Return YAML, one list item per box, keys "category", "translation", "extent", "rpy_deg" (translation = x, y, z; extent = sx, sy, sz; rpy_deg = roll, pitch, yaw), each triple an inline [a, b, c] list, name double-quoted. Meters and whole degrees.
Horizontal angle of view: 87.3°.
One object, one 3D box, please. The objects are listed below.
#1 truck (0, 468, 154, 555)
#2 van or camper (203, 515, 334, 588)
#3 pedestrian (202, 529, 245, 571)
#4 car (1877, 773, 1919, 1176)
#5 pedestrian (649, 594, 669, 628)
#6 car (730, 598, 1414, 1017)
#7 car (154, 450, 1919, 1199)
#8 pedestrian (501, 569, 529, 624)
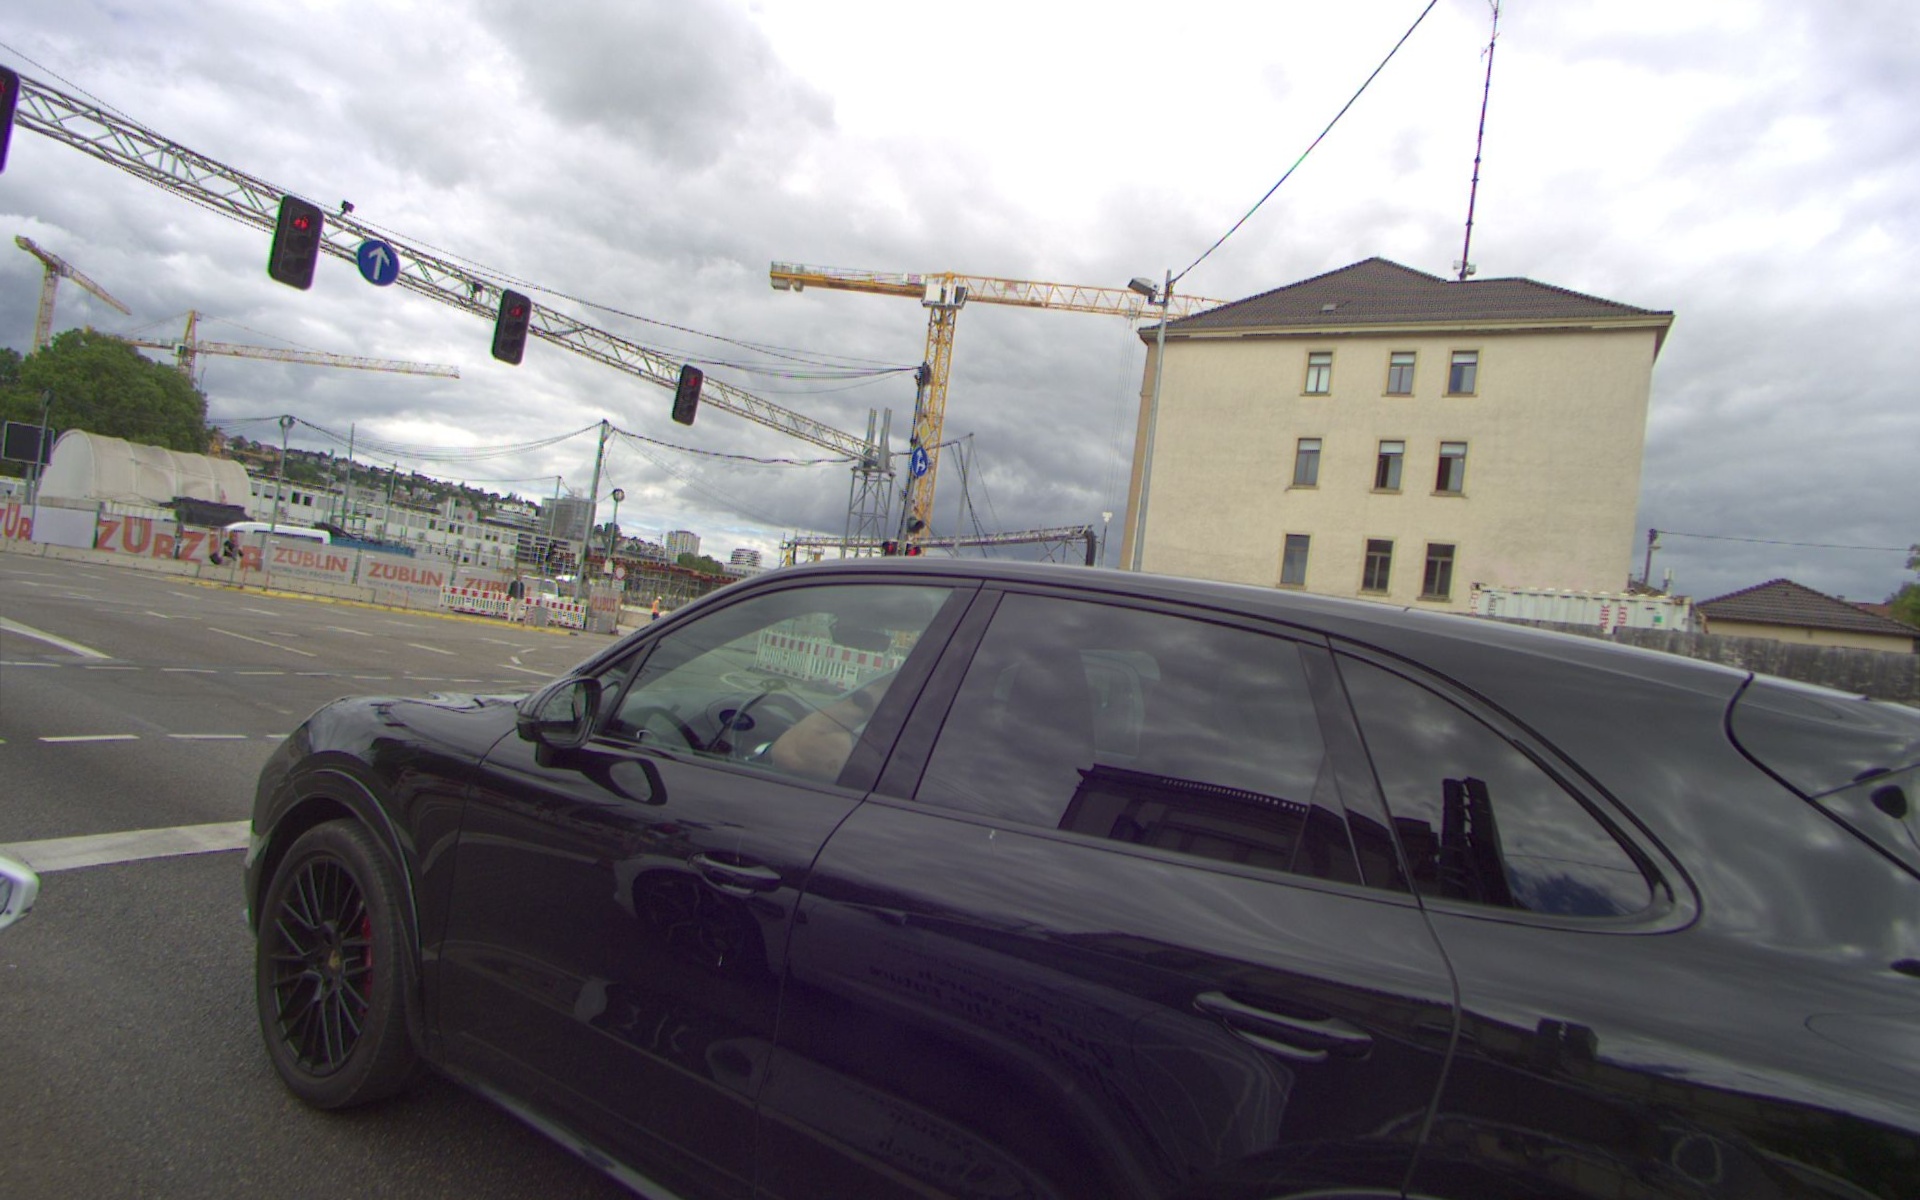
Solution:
- category: "truck"
  translation: [-57.897, -5.789, 61.926]
  extent: [3.875, 4.086, 13.089]
  rpy_deg: [8, -2, 12]
- category: "van or camper"
  translation: [-29.807, -2.069, 43.410]
  extent: [4.204, 2.384, 1.976]
  rpy_deg: [10, -3, -44]
- category: "pedestrian"
  translation: [-27.982, -1.896, 38.242]
  extent: [0.889, 1.393, 0.799]
  rpy_deg: [8, -1, -7]
- category: "car"
  translation: [5.736, 1.697, 2.620]
  extent: [4.579, 1.589, 1.825]
  rpy_deg: [6, -2, 34]
- category: "pedestrian"
  translation: [-16.106, 0.599, 53.849]
  extent: [0.508, 1.737, 0.654]
  rpy_deg: [7, -1, 21]
- category: "car"
  translation: [0.599, 1.045, 6.373]
  extent: [3.818, 1.561, 1.667]
  rpy_deg: [7, -2, 33]
- category: "car"
  translation: [0.043, 0.717, 2.697]
  extent: [4.559, 1.705, 1.959]
  rpy_deg: [7, -2, 33]
- category: "pedestrian"
  translation: [-17.240, -0.131, 38.976]
  extent: [0.647, 2.037, 0.513]
  rpy_deg: [8, -1, -33]
